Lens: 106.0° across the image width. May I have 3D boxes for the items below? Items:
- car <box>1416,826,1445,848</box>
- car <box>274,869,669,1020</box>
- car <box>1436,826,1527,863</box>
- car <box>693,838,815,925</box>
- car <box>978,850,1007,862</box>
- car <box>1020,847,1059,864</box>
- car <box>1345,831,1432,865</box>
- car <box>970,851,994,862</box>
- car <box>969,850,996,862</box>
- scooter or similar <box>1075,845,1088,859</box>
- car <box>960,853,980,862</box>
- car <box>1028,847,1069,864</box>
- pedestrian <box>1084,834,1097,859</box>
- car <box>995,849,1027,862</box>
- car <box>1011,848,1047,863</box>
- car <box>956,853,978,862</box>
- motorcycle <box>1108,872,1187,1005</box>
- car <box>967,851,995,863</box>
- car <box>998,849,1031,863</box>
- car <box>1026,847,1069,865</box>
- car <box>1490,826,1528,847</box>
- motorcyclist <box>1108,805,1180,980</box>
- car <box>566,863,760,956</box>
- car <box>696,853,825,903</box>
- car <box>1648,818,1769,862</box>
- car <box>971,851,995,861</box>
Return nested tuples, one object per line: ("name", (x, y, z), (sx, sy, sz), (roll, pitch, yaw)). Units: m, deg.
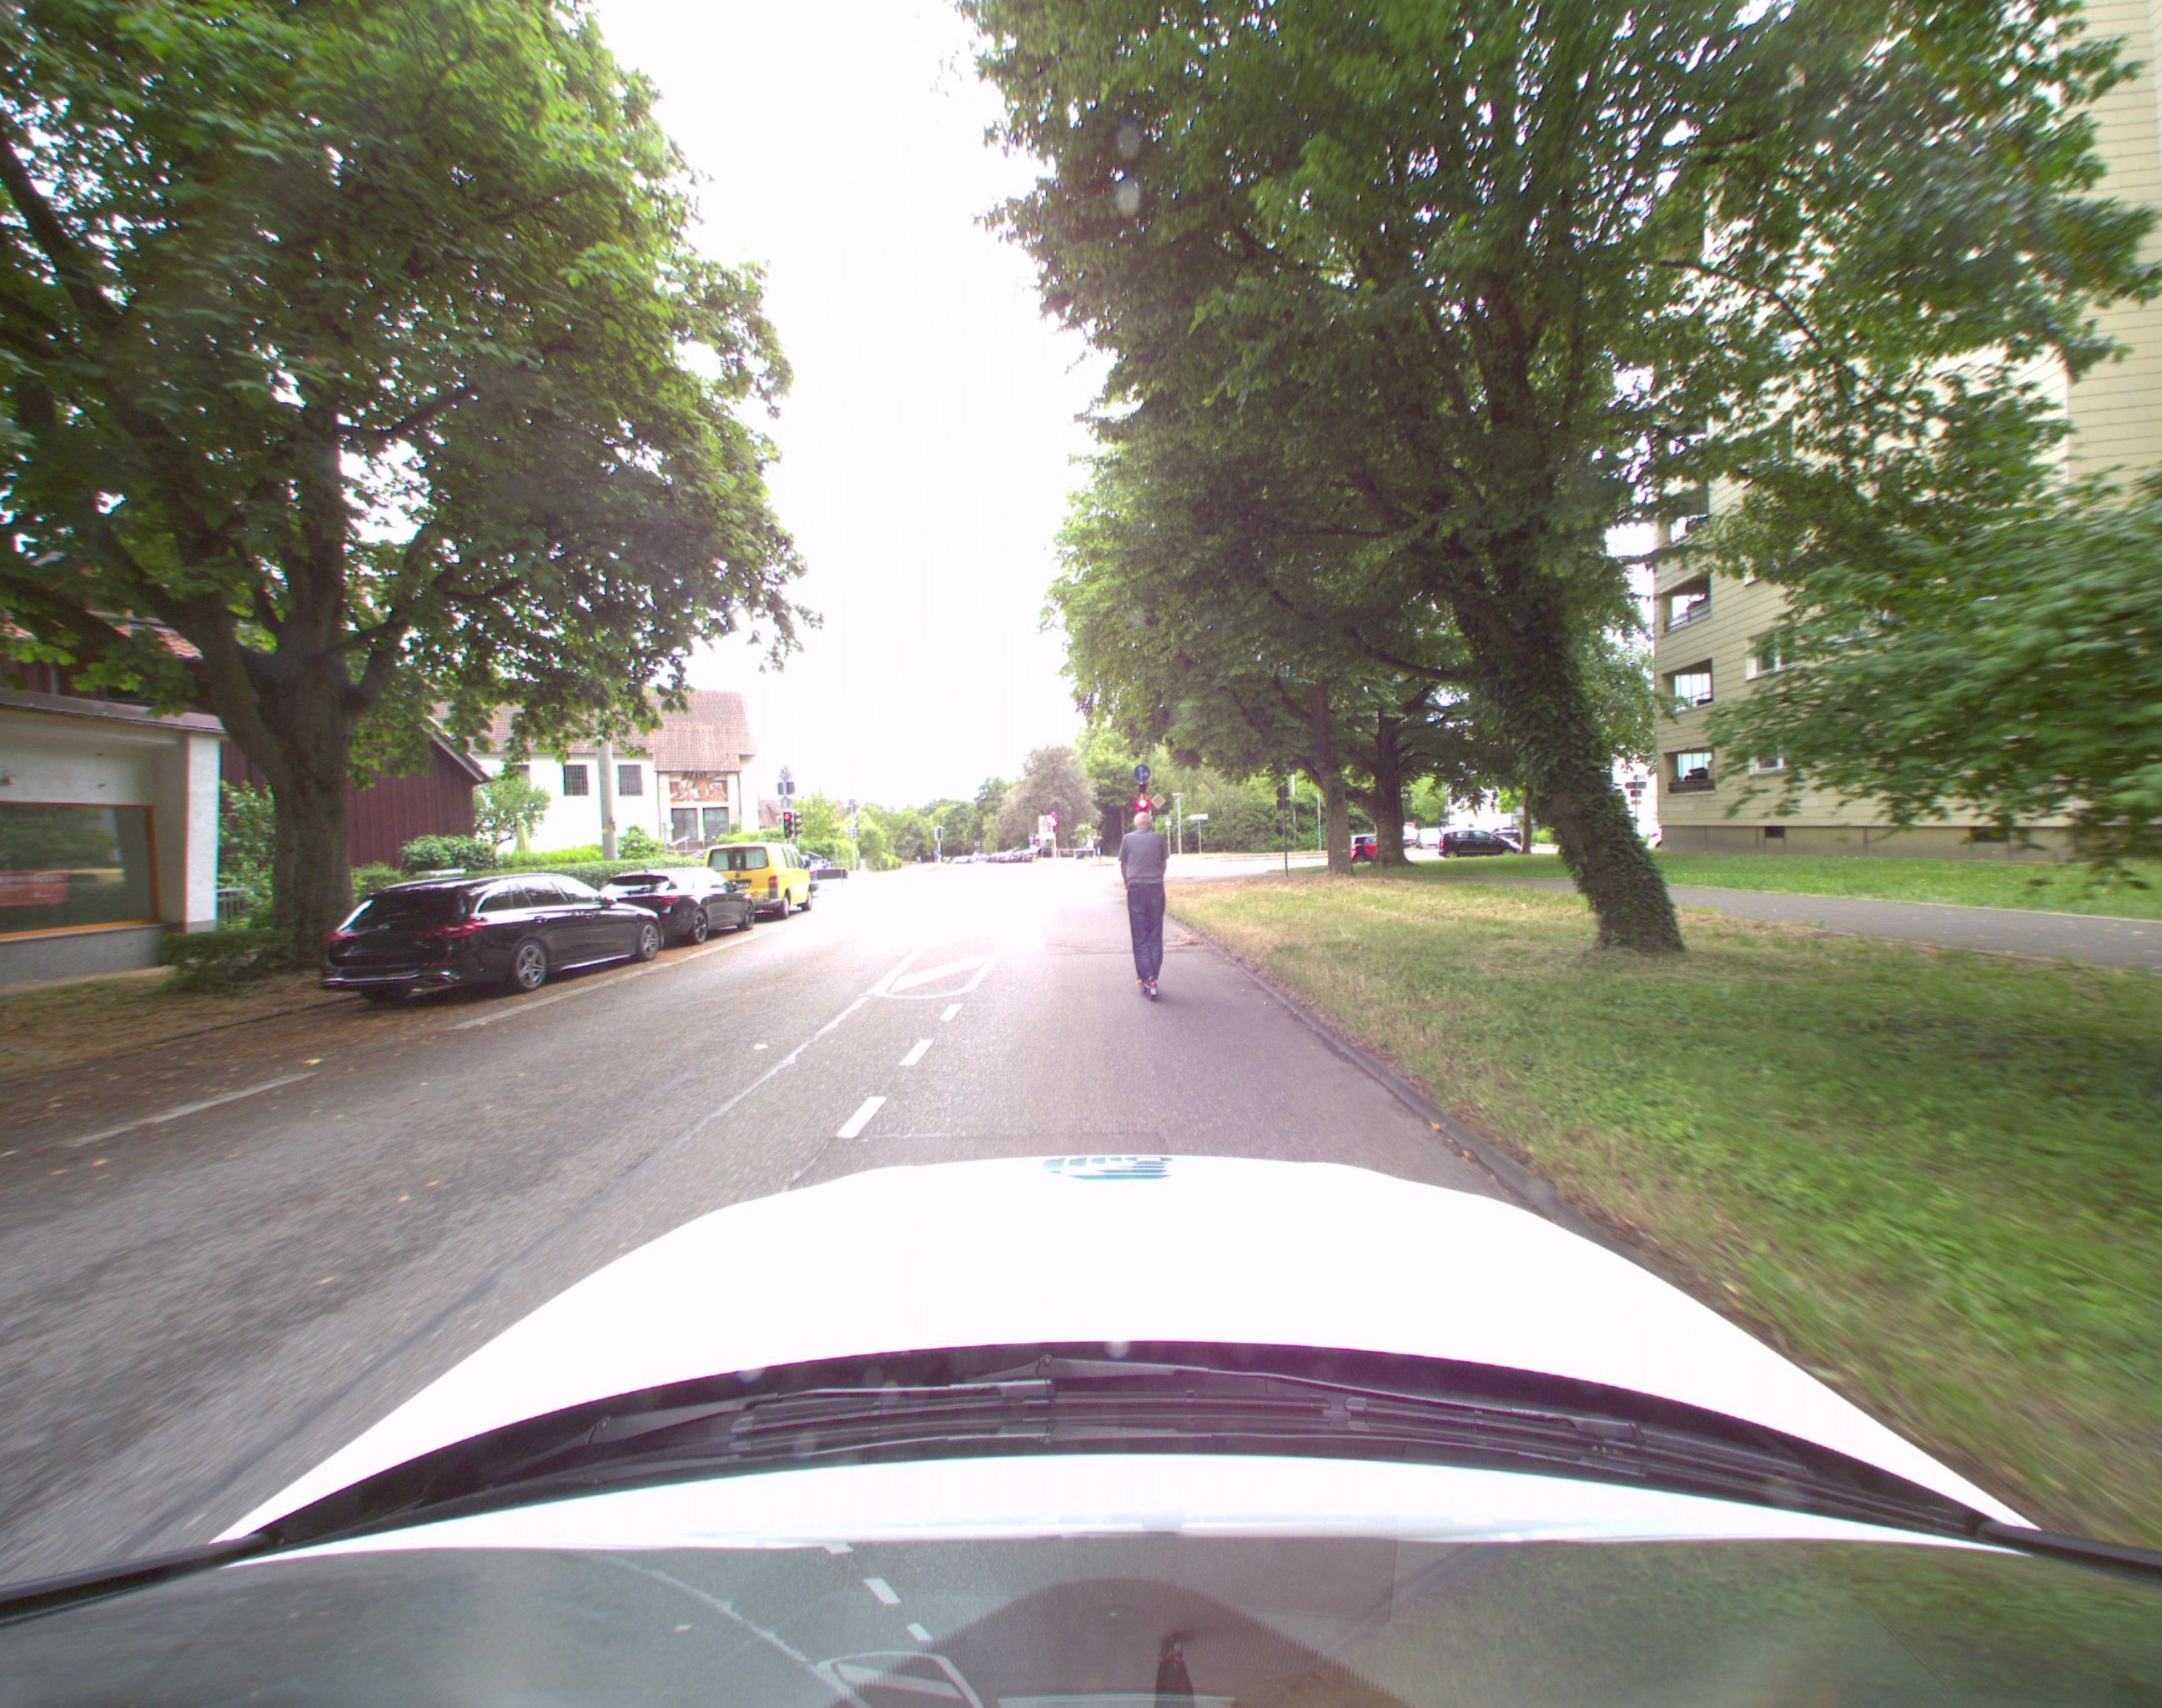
("car", (26.624, -1.317, 61.945), (1.777, 1.510, 4.024), (-3, 0, 26))
("car", (-7.628, 1.000, 10.937), (1.887, 1.410, 4.551), (-3, 0, -2))
("car", (19.910, -0.484, 40.651), (3.952, 1.726, 1.811), (0, 4, 23))
("car", (-8.534, 0.657, 21.723), (1.856, 1.963, 4.492), (-3, 0, -8))
("car", (-12.455, 0.306, 114.497), (3.981, 1.510, 1.797), (-3, 0, -5))
("car", (-4.372, 0.144, 85.240), (3.981, 1.510, 1.797), (-3, 0, -5))
("car", (15.759, -0.335, 41.924), (3.962, 1.557, 1.806), (-1, 4, 10))
("car", (-16.890, 0.430, 139.029), (3.981, 1.510, 1.797), (-3, 0, -5))
("car", (-15.211, 0.323, 125.681), (3.981, 1.510, 1.797), (-3, 0, -5))
("scooter or similar", (0.042, -0.150, 59.524), (0.704, 1.049, 0.791), (-3, 0, 17))
("car", (-23.025, 0.687, 169.174), (3.981, 1.510, 1.797), (-3, 0, -5))
("car", (-3.246, 0.119, 81.739), (3.981, 1.510, 1.797), (-3, 0, -5))
("pedestrian", (0.700, -0.540, 59.176), (0.726, 1.761, 0.665), (-3, 0, 17))
("car", (-8.913, 0.176, 104.469), (3.981, 1.510, 1.797), (-3, 0, -5))
("car", (-5.889, 0.165, 92.012), (3.981, 1.510, 1.797), (-3, 0, -5))
("car", (-21.999, 0.603, 157.533), (3.981, 1.510, 1.797), (-3, 0, -5))
("motorcycle", (0.657, 0.816, 8.392), (0.671, 1.217, 1.273), (-1, 0, -1))
("car", (-14.628, 0.417, 119.152), (3.981, 1.510, 1.797), (-3, 0, -5))
("car", (-8.378, 0.191, 102.585), (3.981, 1.510, 1.797), (-3, 0, -5))
("car", (-3.233, 0.159, 78.159), (3.981, 1.510, 1.797), (-3, 0, -5))
("car", (33.858, -1.422, 64.530), (2.065, 1.510, 4.021), (-3, 0, 20))
("motorcyclist", (0.648, 0.386, 8.580), (0.671, 1.761, 0.638), (-1, 0, -1))
("car", (-8.011, 0.982, 16.103), (1.790, 1.415, 4.184), (-3, 1, -3))
("car", (-11.676, 0.847, 29.902), (3.985, 1.510, 1.795), (-3, 2, -8))
("car", (27.225, -0.610, 35.395), (1.811, 1.741, 3.951), (-4, 3, -45))
("car", (-16.393, 0.335, 136.461), (3.981, 1.510, 1.797), (-3, 0, -5))
